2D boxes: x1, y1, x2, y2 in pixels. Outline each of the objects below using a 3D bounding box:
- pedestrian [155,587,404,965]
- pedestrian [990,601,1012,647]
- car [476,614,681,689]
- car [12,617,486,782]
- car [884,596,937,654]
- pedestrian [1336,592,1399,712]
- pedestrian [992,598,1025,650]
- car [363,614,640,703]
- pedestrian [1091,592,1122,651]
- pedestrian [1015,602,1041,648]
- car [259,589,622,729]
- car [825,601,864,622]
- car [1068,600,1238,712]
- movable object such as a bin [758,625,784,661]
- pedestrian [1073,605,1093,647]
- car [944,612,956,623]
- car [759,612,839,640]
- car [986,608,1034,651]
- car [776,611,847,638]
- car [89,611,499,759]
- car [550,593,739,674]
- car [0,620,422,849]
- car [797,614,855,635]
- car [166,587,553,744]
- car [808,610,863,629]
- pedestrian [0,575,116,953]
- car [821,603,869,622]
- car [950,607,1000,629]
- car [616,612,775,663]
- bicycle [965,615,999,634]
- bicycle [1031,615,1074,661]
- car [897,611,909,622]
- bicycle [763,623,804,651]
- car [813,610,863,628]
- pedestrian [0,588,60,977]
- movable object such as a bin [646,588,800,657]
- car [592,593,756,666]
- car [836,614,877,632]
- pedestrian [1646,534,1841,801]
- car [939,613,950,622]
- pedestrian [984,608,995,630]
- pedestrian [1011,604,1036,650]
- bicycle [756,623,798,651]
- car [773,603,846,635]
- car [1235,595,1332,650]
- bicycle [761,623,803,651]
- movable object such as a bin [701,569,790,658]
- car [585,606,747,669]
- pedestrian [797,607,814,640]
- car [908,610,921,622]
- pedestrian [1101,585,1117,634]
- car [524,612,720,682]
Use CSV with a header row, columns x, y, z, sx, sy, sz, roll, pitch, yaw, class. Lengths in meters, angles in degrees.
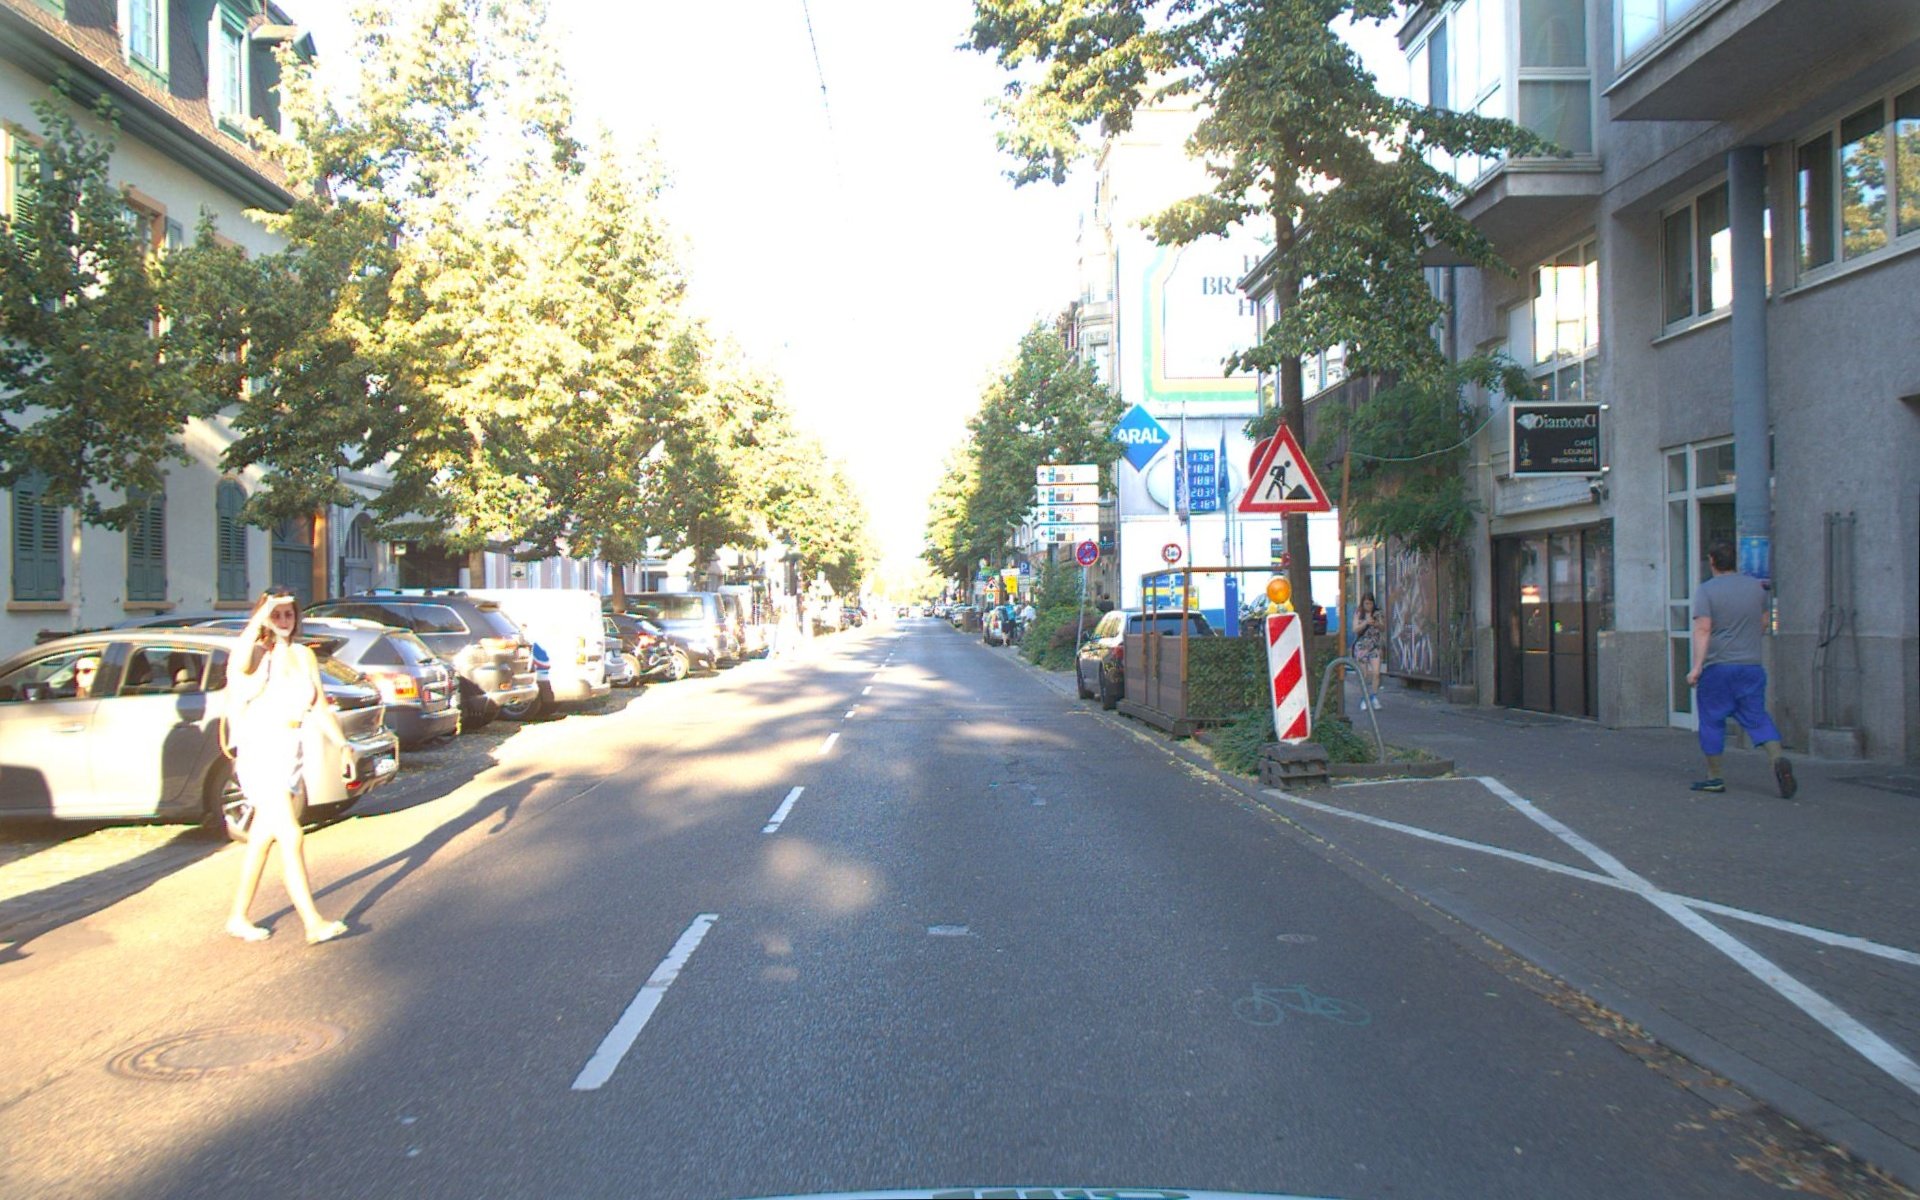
x,y,z,sx,sy,sz,roll,pitch,yaw,class
-3.179,0.785,7.799,0.810,1.667,0.827,-1,-1,-1,pedestrian
1.597,0.932,64.179,0.665,1.785,0.823,-1,-1,-12,pedestrian
-7.985,1.060,34.849,3.842,1.527,1.905,0,0,1,car
-7.087,0.964,16.829,3.956,1.510,1.962,-1,0,-2,car
-1.698,0.840,57.354,1.674,1.855,4.012,-3,0,-1,car
5.431,0.679,22.065,0.598,1.552,0.773,-2,-1,-1,pedestrian
1.804,0.900,61.433,0.996,1.857,0.778,-3,-1,-11,pedestrian
-8.034,1.015,29.256,4.386,1.511,1.734,0,0,0,car
4.842,0.700,54.746,0.806,1.886,1.096,-3,0,-3,pedestrian
2.629,0.983,63.876,0.657,1.730,0.649,-3,-1,44,pedestrian
-7.644,0.849,24.698,4.772,1.941,1.973,-1,0,-2,car
-13.246,1.346,190.489,4.352,2.478,1.918,0,-1,-1,car
2.909,0.813,25.953,1.792,1.514,4.846,-3,0,-3,car
-6.003,1.354,52.556,0.675,1.124,0.883,-1,-1,0,movable object such as a bin
4.823,1.002,64.772,0.645,1.589,0.701,-3,0,-2,pedestrian
-1.182,2.112,203.357,1.482,1.298,3.303,0,-1,0,car
-9.190,1.500,94.676,4.455,1.568,1.810,0,-1,-3,car
2.009,1.164,67.346,1.653,1.602,4.012,-3,0,-1,car
-9.639,1.577,107.651,4.478,1.727,2.059,0,-1,-1,car
-7.650,0.948,19.279,3.954,1.583,1.964,-1,0,1,car
-7.959,0.835,42.042,4.392,2.010,2.068,0,0,-1,car
-6.140,0.924,11.933,3.978,1.487,1.684,-1,0,-4,car
-10.424,1.914,129.026,4.352,1.595,1.918,0,-1,-1,car
-7.739,0.820,21.627,4.338,1.903,1.893,-1,0,-1,car
-10.222,1.599,135.735,4.352,1.474,1.918,0,-1,-1,car
-4.879,0.794,8.243,0.903,1.790,0.762,-2,-1,-1,pedestrian
-10.643,1.180,153.109,4.352,1.790,1.918,0,-1,-1,car
1.141,1.345,123.599,1.645,1.616,3.801,0,-1,41,car
-8.045,1.123,50.525,4.499,1.495,1.893,0,0,1,car
1.308,1.465,98.994,1.918,1.092,0.704,-1,-1,30,bicycle
2.561,1.040,45.706,0.473,1.163,1.678,-4,-1,29,bicycle
-8.583,2.446,249.308,1.717,1.567,3.303,-1,-1,0,car
-7.433,1.557,69.663,1.647,1.097,0.445,2,-2,6,bicycle
-10.812,1.704,146.592,4.352,1.549,1.918,0,-1,-1,car
-4.722,0.819,7.445,0.903,1.725,0.762,-1,-1,-1,pedestrian
-8.956,0.831,63.029,2.272,2.539,5.721,-1,-1,41,movable object such as a bin
-8.134,0.841,47.388,4.394,2.010,1.964,0,0,-4,car
-11.255,2.518,180.448,4.352,1.994,1.918,0,-1,-1,car
5.643,0.469,11.972,0.839,1.826,0.996,-2,-1,-5,pedestrian
-2.021,2.359,221.341,1.482,1.285,3.303,0,-1,0,car
1.907,1.221,106.903,0.711,1.402,0.781,0,-1,-1,pedestrian
2.458,1.050,64.479,0.666,1.735,0.821,-3,-1,-16,pedestrian
-7.588,1.521,68.482,1.649,1.097,0.444,2,-2,-2,bicycle
-9.527,1.229,104.887,4.479,1.996,1.990,0,-1,-2,car
9.316,0.672,47.967,1.699,1.456,4.906,-2,-1,-2,car
-7.447,1.538,69.077,1.647,1.097,0.445,2,-2,6,bicycle
-7.547,0.480,58.807,2.572,3.021,5.301,0,-1,-2,movable object such as a bin
-7.905,0.997,44.762,4.046,1.665,1.860,0,0,-1,car
-8.175,1.244,87.479,0.695,1.716,0.834,0,-1,7,pedestrian
-6.336,2.202,231.050,1.717,1.567,3.303,-1,-1,0,car
5.867,0.359,65.151,0.452,1.908,0.499,-1,0,-17,pedestrian
-7.686,1.066,37.944,4.243,1.527,1.839,0,0,-7,car
